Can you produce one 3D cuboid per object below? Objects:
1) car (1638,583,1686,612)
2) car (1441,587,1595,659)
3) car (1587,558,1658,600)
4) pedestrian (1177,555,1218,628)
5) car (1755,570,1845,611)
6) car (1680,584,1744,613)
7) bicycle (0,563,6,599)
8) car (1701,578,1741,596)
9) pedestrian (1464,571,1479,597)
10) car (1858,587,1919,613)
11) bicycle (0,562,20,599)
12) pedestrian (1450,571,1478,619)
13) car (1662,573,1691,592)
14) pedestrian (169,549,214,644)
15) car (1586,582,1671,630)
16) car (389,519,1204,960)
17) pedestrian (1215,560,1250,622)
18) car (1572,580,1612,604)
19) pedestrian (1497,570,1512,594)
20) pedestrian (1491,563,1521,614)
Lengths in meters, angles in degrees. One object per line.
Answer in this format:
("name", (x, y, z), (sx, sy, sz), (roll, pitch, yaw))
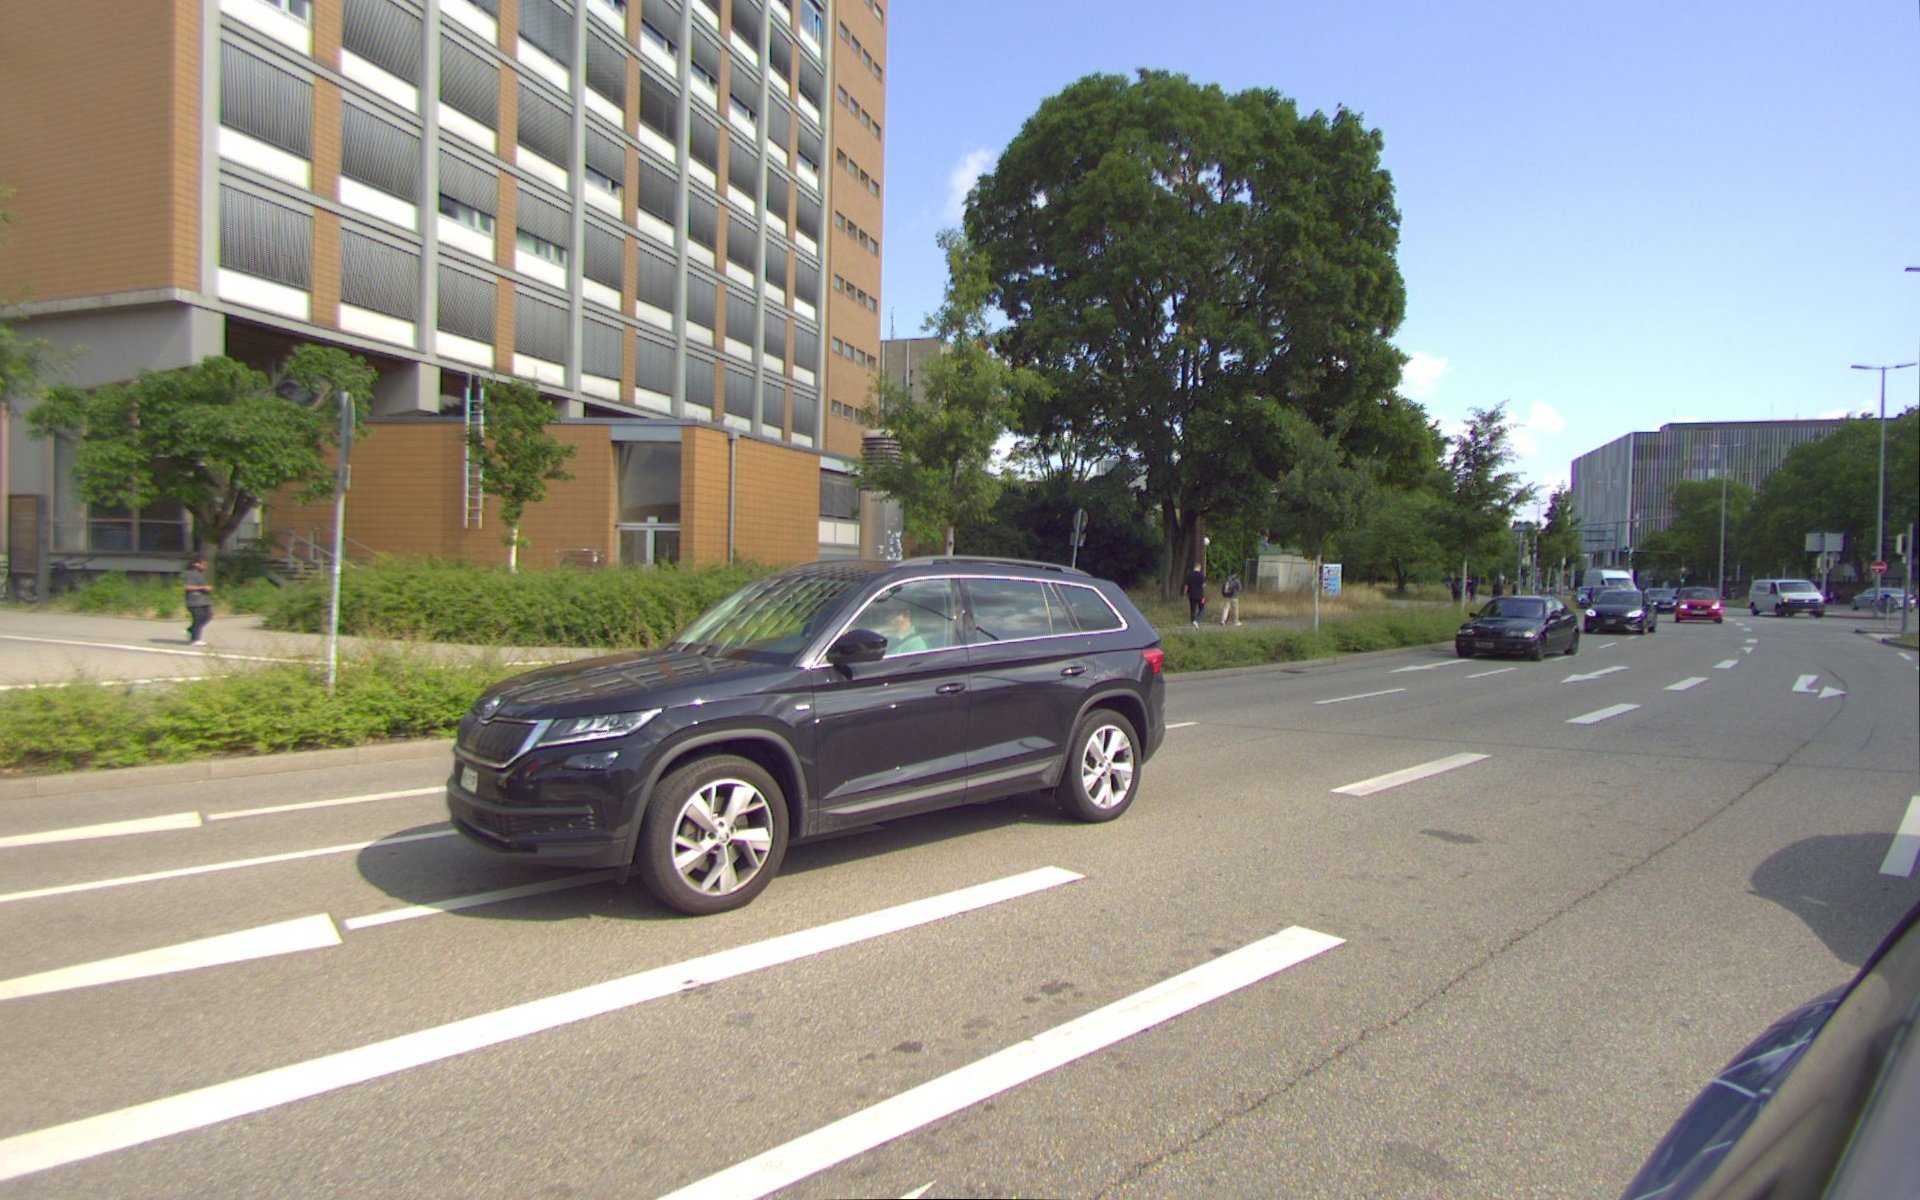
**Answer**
("car", (40.898, -0.144, 59.029), (1.874, 1.638, 3.959), (0, 0, 29))
("car", (12.898, 0.442, 23.281), (1.994, 1.415, 4.437), (1, 2, 45))
("car", (47.856, -1.538, 73.301), (2.451, 2.915, 6.121), (1, 2, 15))
("pedestrian", (6.403, -0.237, 27.247), (0.634, 1.893, 0.760), (0, 3, -41))
("car", (44.289, -0.497, 53.514), (1.974, 2.039, 5.042), (0, 0, 19))
("car", (32.680, -0.083, 43.955), (2.958, 1.229, 1.607), (-1, 1, -41))
("bicycle", (-25.163, -0.486, 25.542), (0.453, 0.916, 1.539), (1, 2, 22))
("car", (69.648, -1.197, 92.642), (1.978, 1.615, 3.969), (2, 2, 23))
("pedestrian", (40.222, -1.218, 79.582), (0.980, 2.039, 1.117), (0, 0, 33))
("car", (57.640, -0.014, 62.440), (1.939, 1.507, 5.056), (2, 1, 25))
("bicycle", (-24.577, -0.484, 25.293), (0.453, 0.916, 1.539), (1, 2, 22))
("pedestrian", (21.942, -0.213, 44.081), (0.980, 2.039, 1.117), (0, 0, 33))
("car", (79.708, -1.952, 112.561), (1.753, 2.038, 3.586), (3, 2, 22))
("pedestrian", (-12.703, -0.067, 16.737), (0.570, 1.539, 0.480), (0, 2, -36))
("car", (22.621, 0.190, 34.207), (1.709, 1.472, 3.937), (2, 1, 44))
("car", (-0.671, 0.512, 6.181), (4.604, 1.689, 1.996), (0, 1, -42))
("pedestrian", (8.036, -0.263, 29.837), (0.634, 1.767, 0.672), (0, 4, -41))
("car", (42.357, -0.507, 67.871), (1.982, 1.504, 3.960), (2, 1, 28))
("pedestrian", (46.263, -1.510, 86.023), (0.980, 2.038, 1.117), (2, 1, 32))
("pedestrian", (22.252, -0.467, 41.231), (0.980, 2.039, 1.117), (0, 0, 33))
